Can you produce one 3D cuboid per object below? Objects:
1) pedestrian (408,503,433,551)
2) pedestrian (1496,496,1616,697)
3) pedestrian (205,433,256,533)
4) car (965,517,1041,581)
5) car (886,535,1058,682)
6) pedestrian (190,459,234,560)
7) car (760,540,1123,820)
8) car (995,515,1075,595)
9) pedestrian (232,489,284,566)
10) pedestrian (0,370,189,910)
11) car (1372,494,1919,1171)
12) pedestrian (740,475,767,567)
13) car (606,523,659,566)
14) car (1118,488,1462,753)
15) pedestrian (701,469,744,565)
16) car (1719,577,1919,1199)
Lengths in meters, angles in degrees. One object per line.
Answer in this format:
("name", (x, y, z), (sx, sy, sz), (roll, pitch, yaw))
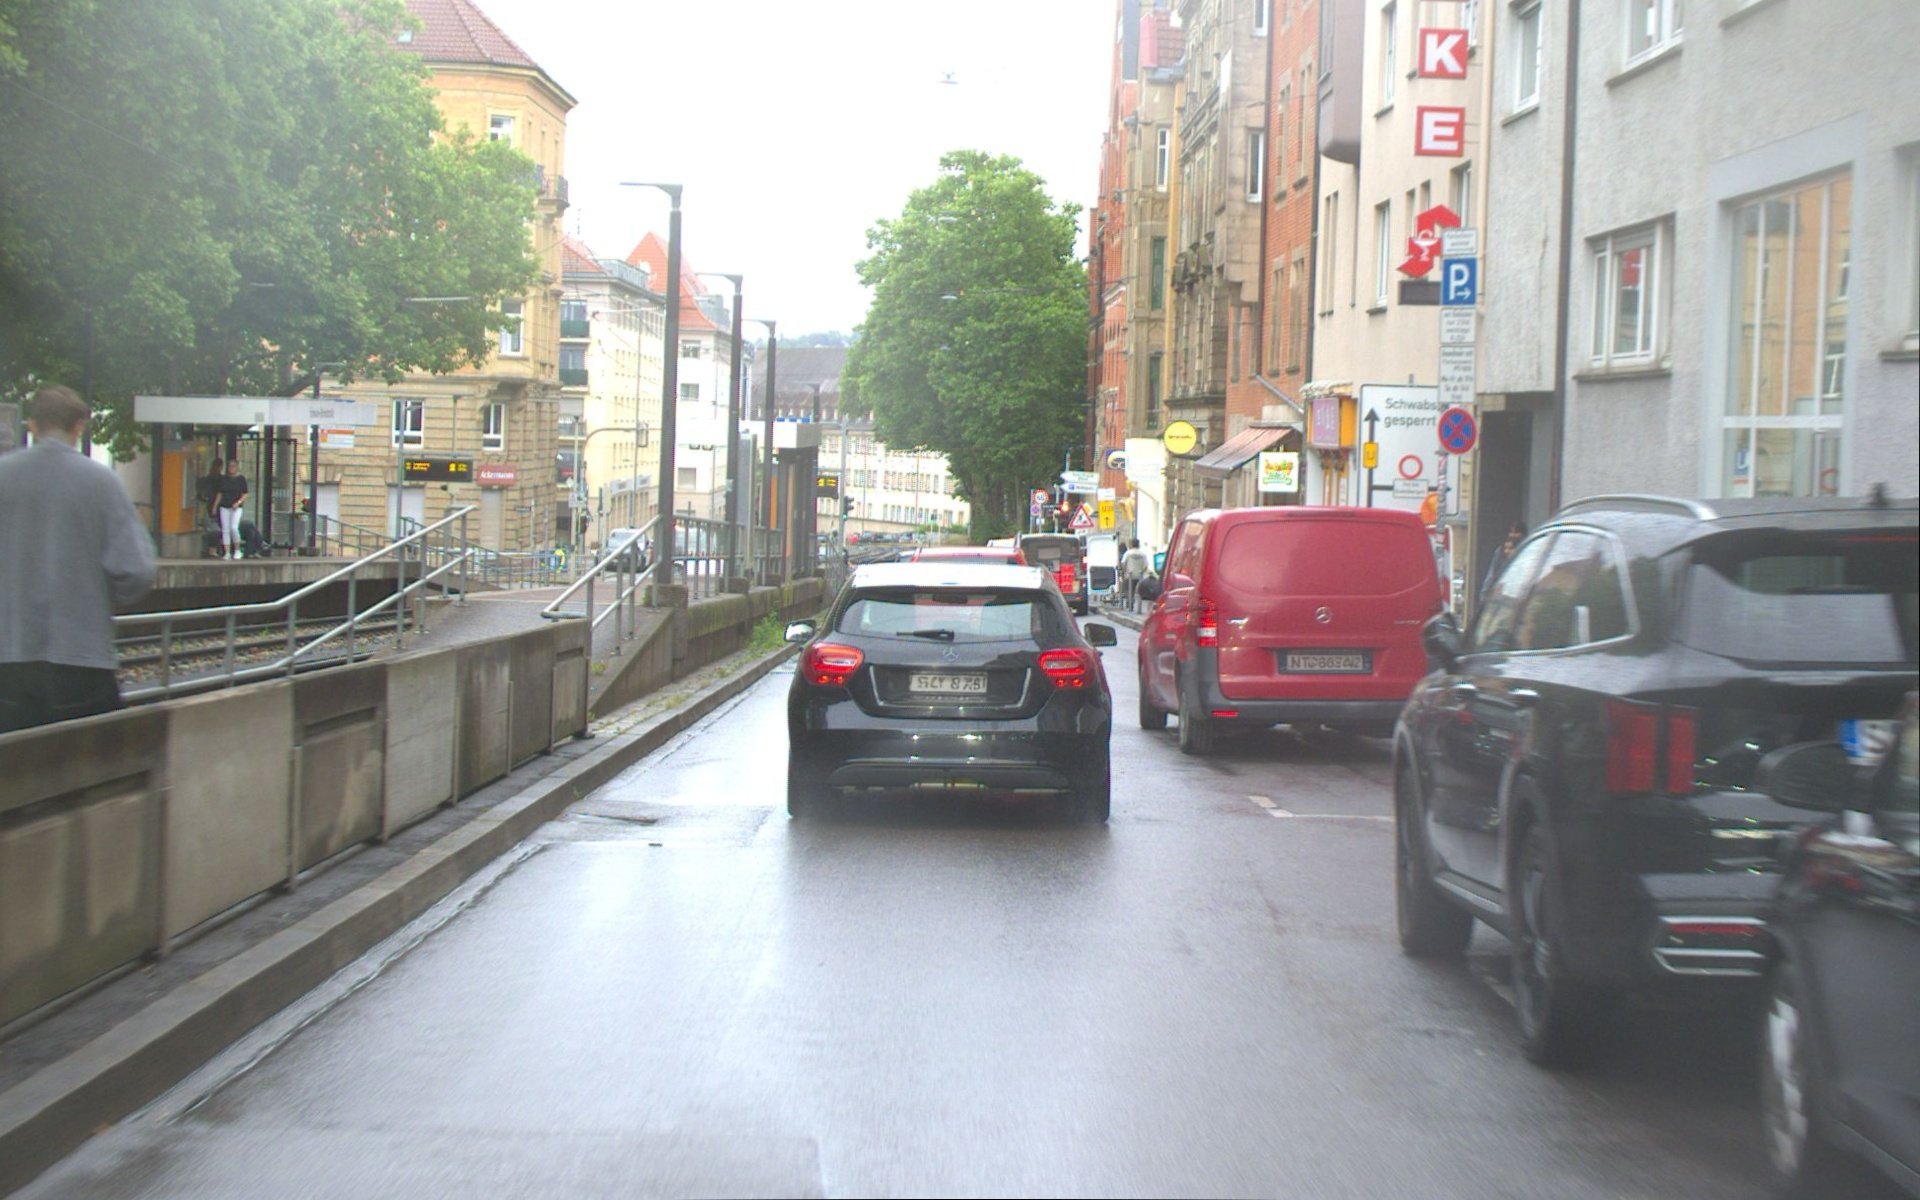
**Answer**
("pedestrian", (-19.720, -2.679, 125.654), (0.761, 1.744, 0.645), (1, 1, 1))
("pedestrian", (5.350, -0.039, 30.897), (0.851, 1.751, 0.837), (3, 1, 0))
("pedestrian", (-12.264, -1.965, 57.833), (0.686, 1.635, 0.564), (3, 1, -2))
("car", (1.268, -1.529, 102.248), (1.933, 1.825, 4.281), (2, 1, -3))
("car", (0.086, 0.054, 37.238), (1.679, 1.484, 3.613), (1, 1, -2))
("pedestrian", (-12.947, -1.567, 59.505), (0.562, 1.709, 0.706), (3, 1, -2))
("car", (-0.085, 0.389, 20.114), (1.895, 1.385, 4.000), (1, 2, 0))
("car", (1.873, -1.137, 86.883), (1.921, 1.929, 4.685), (2, 1, 1))
("pedestrian", (-12.747, -1.324, 62.445), (0.777, 1.358, 0.564), (3, 1, -2))
("pedestrian", (-3.216, 0.121, 11.906), (0.859, 1.793, 0.787), (2, 1, -1))
("car", (2.472, 0.548, 10.996), (1.765, 1.702, 4.499), (1, 1, 1))
("pedestrian", (-3.601, -1.374, 59.976), (0.409, 1.599, 0.450), (1, 1, -6))
("car", (-14.511, -2.449, 152.519), (1.993, 1.853, 4.000), (1, 1, 0))
("car", (2.462, 0.112, 26.993), (1.975, 1.832, 5.246), (1, 1, -2))
("pedestrian", (-3.986, -1.393, 57.751), (0.496, 1.599, 0.636), (2, 1, 16))
("car", (2.612, 0.741, 6.595), (1.661, 1.447, 3.609), (2, 1, 4))
